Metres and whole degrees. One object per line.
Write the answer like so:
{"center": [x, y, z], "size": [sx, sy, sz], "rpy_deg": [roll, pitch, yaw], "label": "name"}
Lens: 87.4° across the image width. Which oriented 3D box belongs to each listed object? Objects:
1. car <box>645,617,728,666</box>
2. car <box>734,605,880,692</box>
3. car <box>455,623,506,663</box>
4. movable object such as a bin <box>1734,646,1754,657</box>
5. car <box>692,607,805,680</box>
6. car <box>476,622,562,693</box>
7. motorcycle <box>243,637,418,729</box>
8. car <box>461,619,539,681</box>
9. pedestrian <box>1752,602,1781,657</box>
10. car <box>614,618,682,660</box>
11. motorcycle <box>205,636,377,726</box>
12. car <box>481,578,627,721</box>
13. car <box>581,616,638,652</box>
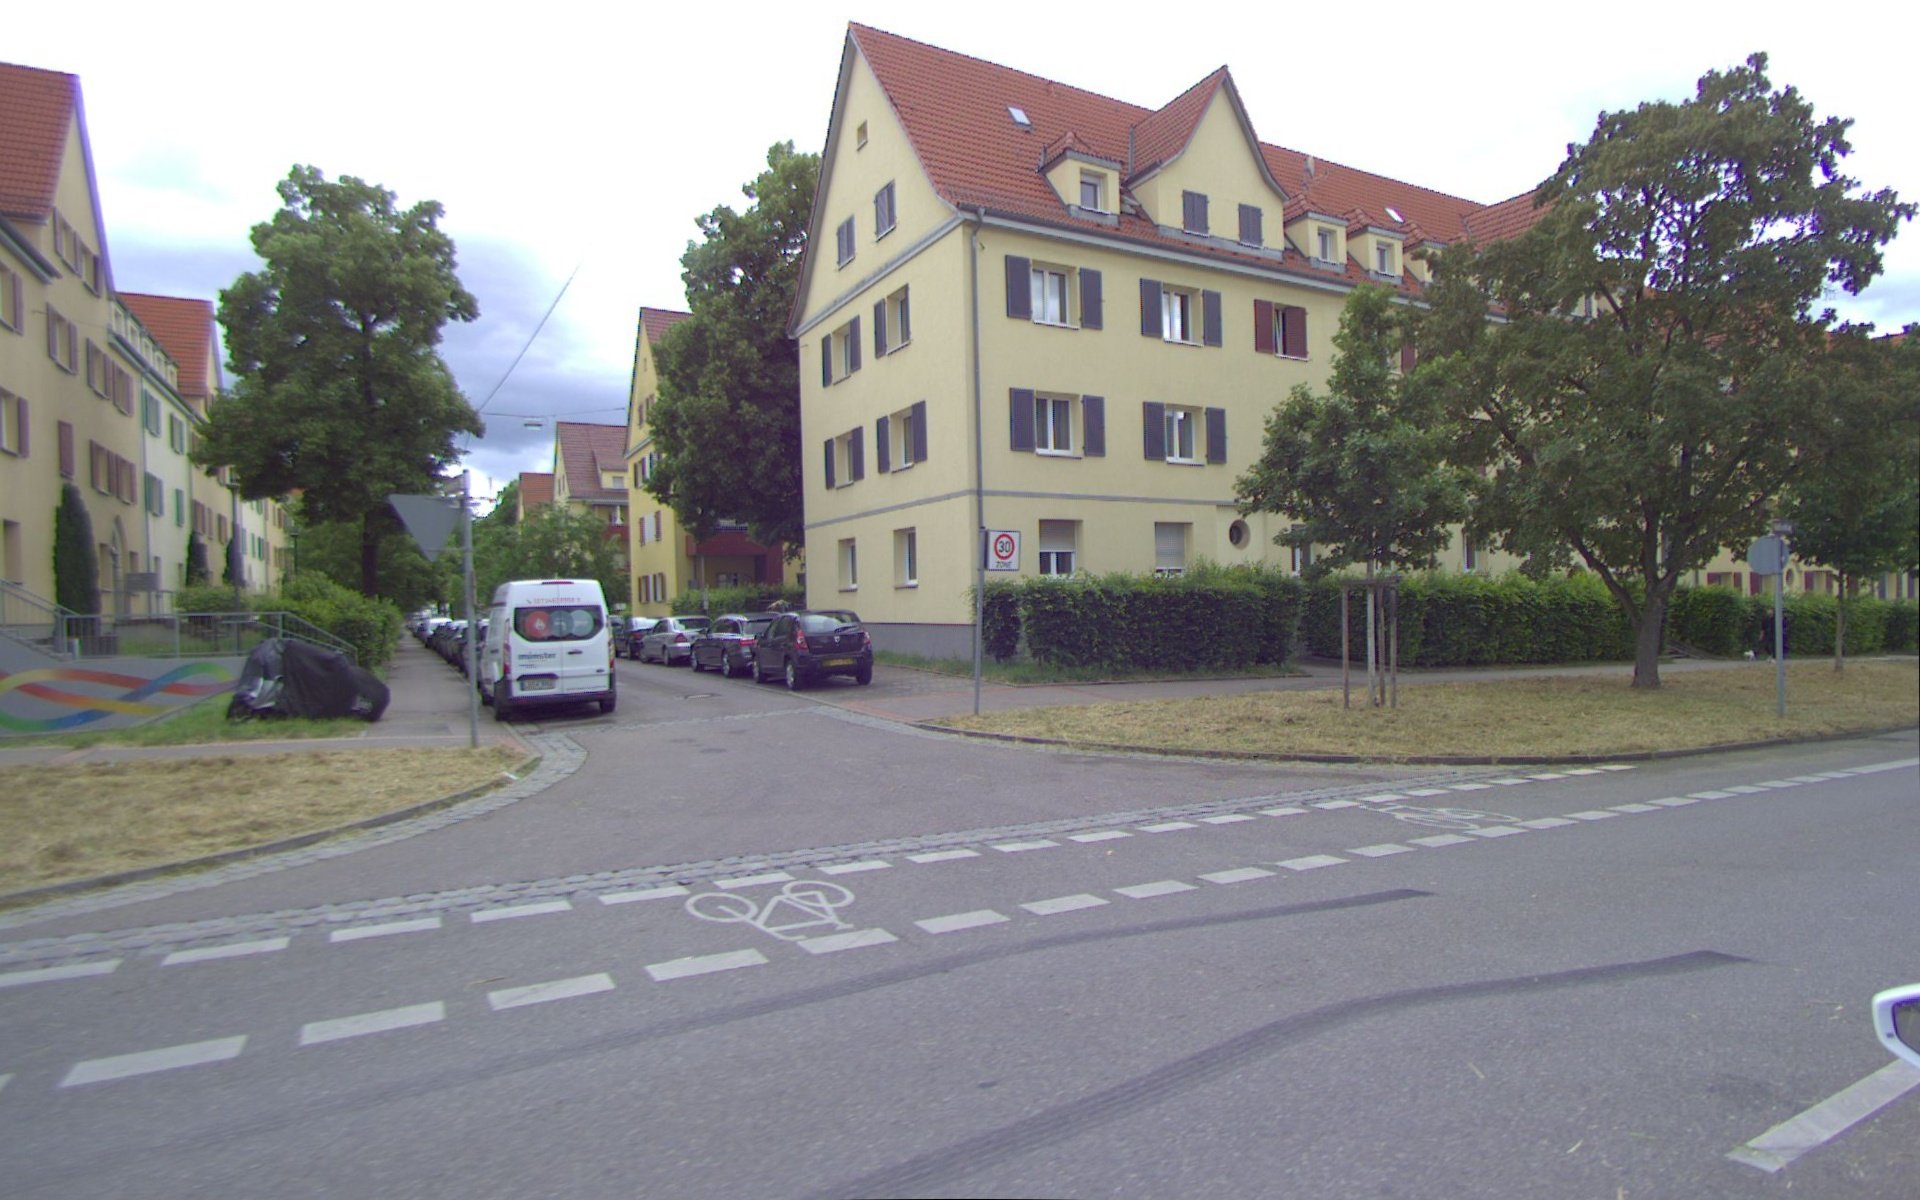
{"center": [-8.196, 1.195, 29.935], "size": [1.523, 1.255, 3.399], "rpy_deg": [-3, 2, -30], "label": "car"}
{"center": [-3.277, 0.923, 20.961], "size": [1.671, 1.550, 3.886], "rpy_deg": [-3, 2, -30], "label": "car"}
{"center": [-18.421, 1.602, 38.544], "size": [1.567, 1.404, 3.446], "rpy_deg": [0, 0, -29], "label": "car"}
{"center": [26.487, 1.748, 33.947], "size": [0.573, 0.352, 0.305], "rpy_deg": [0, 0, -25], "label": "movable object such as a bin"}
{"center": [-5.227, 0.981, 24.499], "size": [1.601, 1.550, 3.633], "rpy_deg": [-3, 2, -30], "label": "car"}
{"center": [-10.613, 1.313, 24.050], "size": [1.722, 1.486, 3.804], "rpy_deg": [0, 0, -26], "label": "car"}
{"center": [-9.846, 1.259, 15.895], "size": [0.996, 1.295, 2.607], "rpy_deg": [0, -1, 3], "label": "motorcycle"}
{"center": [-13.032, 1.351, 28.372], "size": [1.724, 1.587, 3.800], "rpy_deg": [0, 0, -29], "label": "car"}
{"center": [26.656, 0.963, 33.194], "size": [0.744, 1.803, 0.511], "rpy_deg": [0, 0, -30], "label": "pedestrian"}
{"center": [-10.887, 1.303, 34.907], "size": [1.523, 1.255, 3.399], "rpy_deg": [-3, 2, -30], "label": "car"}
{"center": [-10.999, 1.284, 16.683], "size": [0.996, 1.296, 2.607], "rpy_deg": [0, 0, 3], "label": "motorcycle"}
{"center": [-7.639, 0.847, 18.604], "size": [1.971, 2.283, 4.698], "rpy_deg": [1, -1, -29], "label": "car"}
{"center": [-14.199, 1.341, 40.579], "size": [1.523, 1.255, 3.399], "rpy_deg": [-3, 2, -30], "label": "car"}
